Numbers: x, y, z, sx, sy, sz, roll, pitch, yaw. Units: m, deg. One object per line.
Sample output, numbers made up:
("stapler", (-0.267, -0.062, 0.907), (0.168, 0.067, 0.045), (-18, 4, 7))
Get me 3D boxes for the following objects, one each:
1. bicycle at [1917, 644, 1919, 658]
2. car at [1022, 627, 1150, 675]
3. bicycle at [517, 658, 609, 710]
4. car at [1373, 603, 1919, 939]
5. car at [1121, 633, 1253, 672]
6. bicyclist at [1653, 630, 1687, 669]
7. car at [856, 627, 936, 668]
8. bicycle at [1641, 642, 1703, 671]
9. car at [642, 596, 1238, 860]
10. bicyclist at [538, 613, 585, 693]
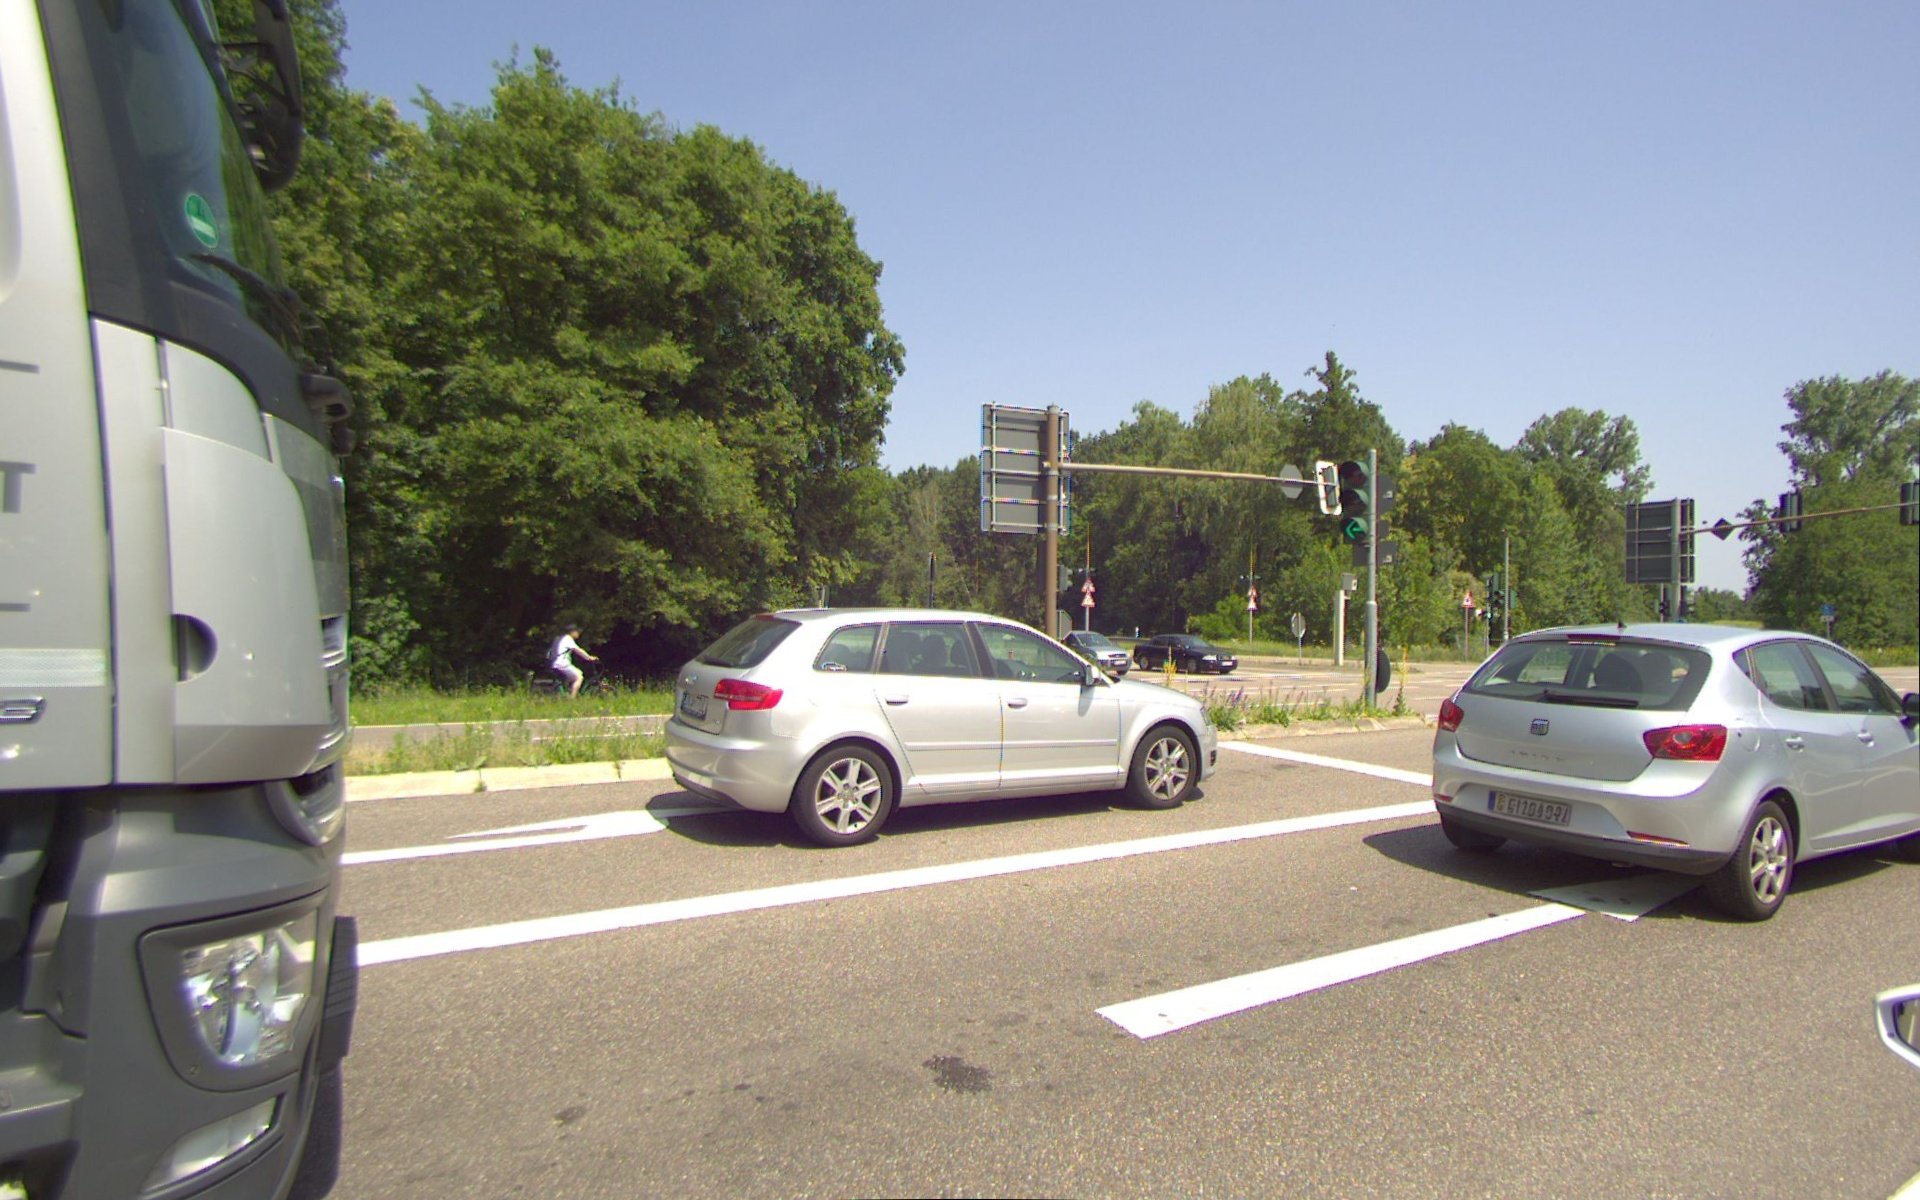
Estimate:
("bicycle", (67.217, 3.534, 69.667), (1.531, 1.019, 0.604), (1, -2, -20))
("car", (4.421, 1.756, 35.921), (2.105, 1.588, 4.782), (1, -2, -30))
("bicycle", (-7.493, 1.577, 19.022), (1.581, 0.935, 0.564), (1, -1, -21))
("car", (4.460, 0.794, 6.098), (3.783, 1.449, 1.657), (1, 0, -30))
("car", (8.253, 1.873, 36.893), (2.081, 1.307, 4.783), (1, -2, -30))
("bicyclist", (27.427, 1.904, 38.818), (0.701, 1.479, 0.927), (0, -1, 7))
("car", (-3.189, 2.269, 48.962), (1.977, 1.923, 4.782), (1, -2, -30))
("bicycle", (27.477, 2.185, 38.784), (1.831, 1.077, 0.725), (0, -1, 7))
("car", (-0.051, 0.721, 7.239), (3.971, 1.410, 1.755), (1, 0, -33))
("bicyclist", (-7.528, 0.997, 19.012), (0.798, 1.484, 0.658), (1, -1, -21))
